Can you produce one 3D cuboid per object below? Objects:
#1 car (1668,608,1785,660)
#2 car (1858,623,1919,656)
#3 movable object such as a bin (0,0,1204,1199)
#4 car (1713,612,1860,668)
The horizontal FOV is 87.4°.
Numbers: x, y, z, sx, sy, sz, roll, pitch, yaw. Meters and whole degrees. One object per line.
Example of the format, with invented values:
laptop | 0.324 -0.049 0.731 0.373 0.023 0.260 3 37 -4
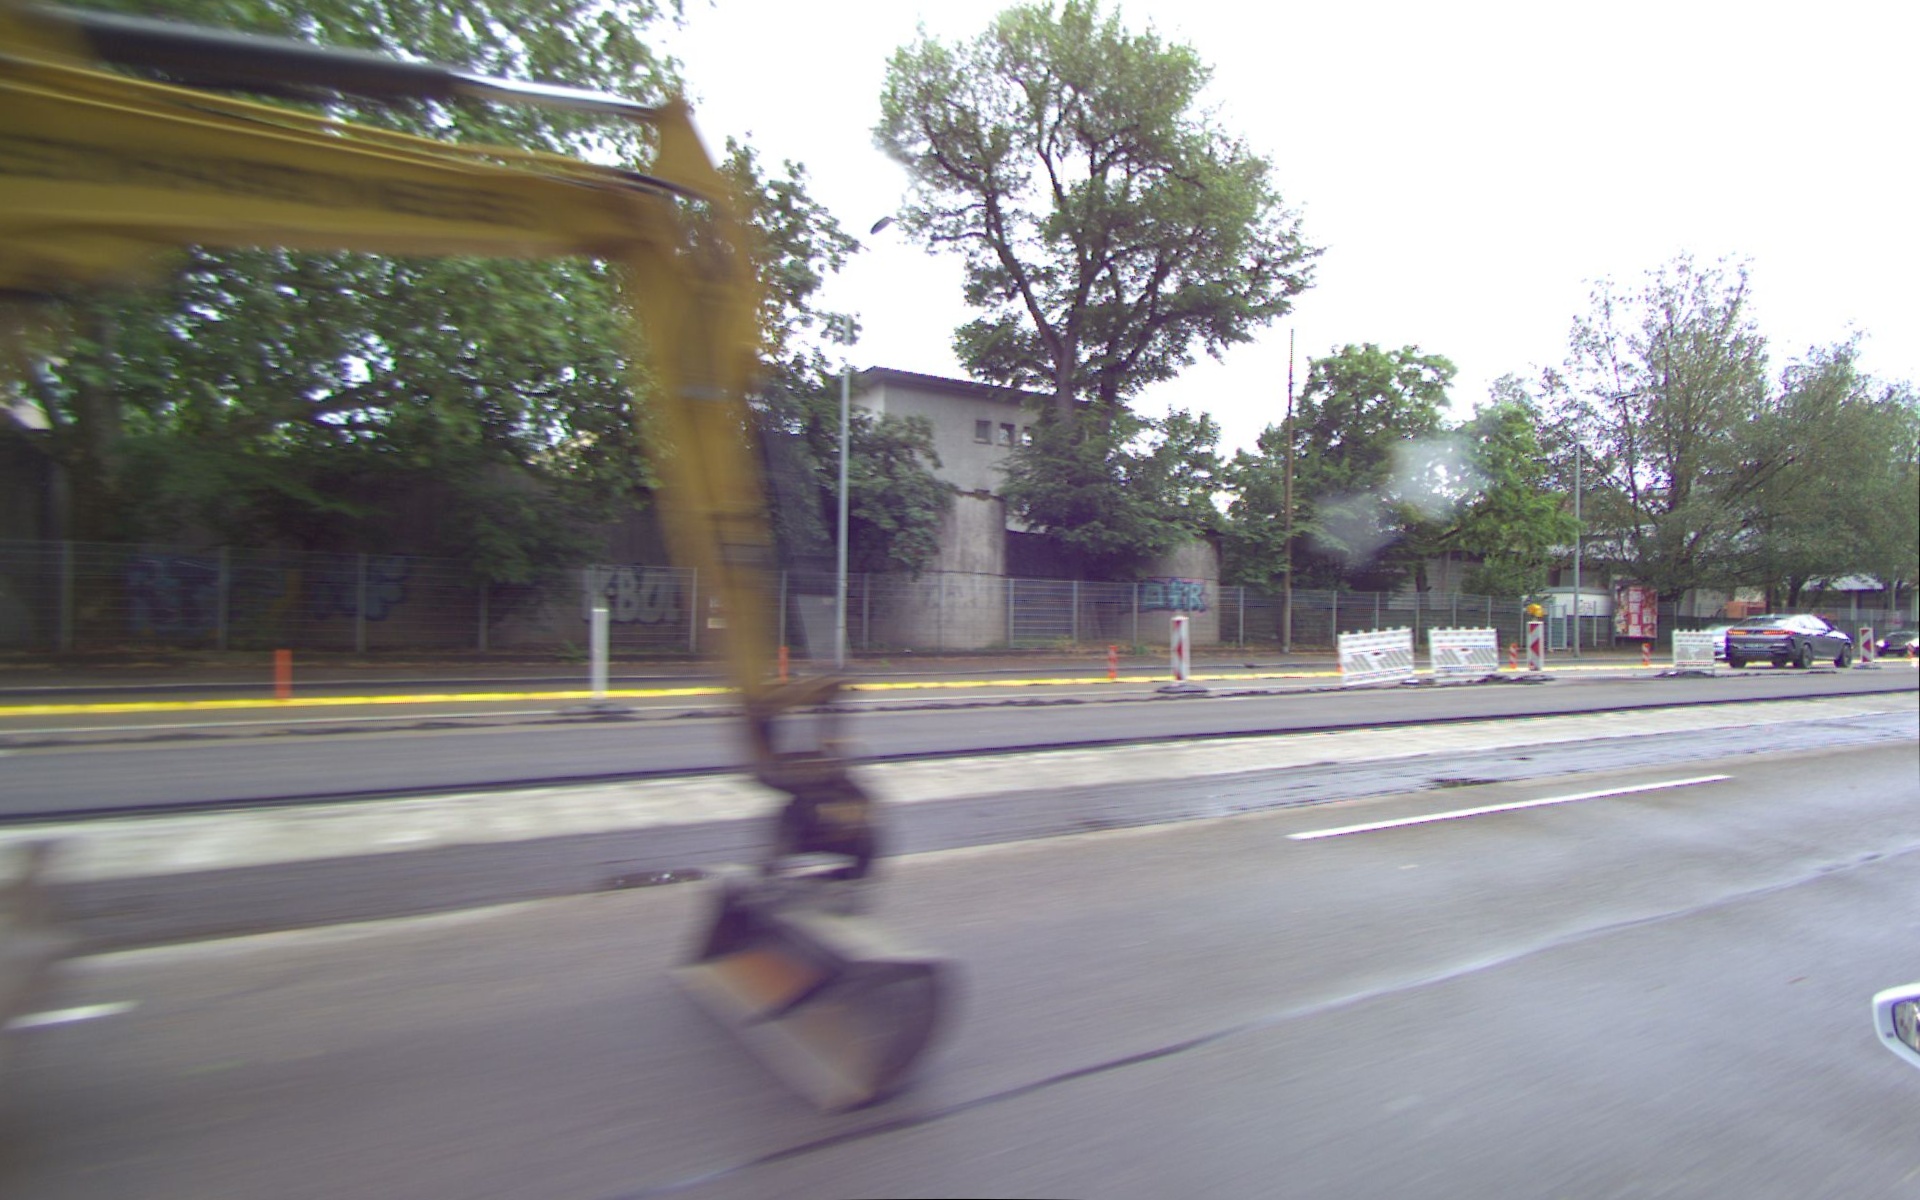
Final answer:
car | 28.578 1.252 37.415 4.228 1.790 1.984 2 0 -30
car | 48.895 2.042 52.189 4.564 1.607 1.984 1 -1 -30
movable object such as a bin | -2.353 -0.348 2.334 5.911 3.412 1.984 2 0 -30
car | 26.457 1.254 32.115 4.998 1.635 2.066 2 0 -31
